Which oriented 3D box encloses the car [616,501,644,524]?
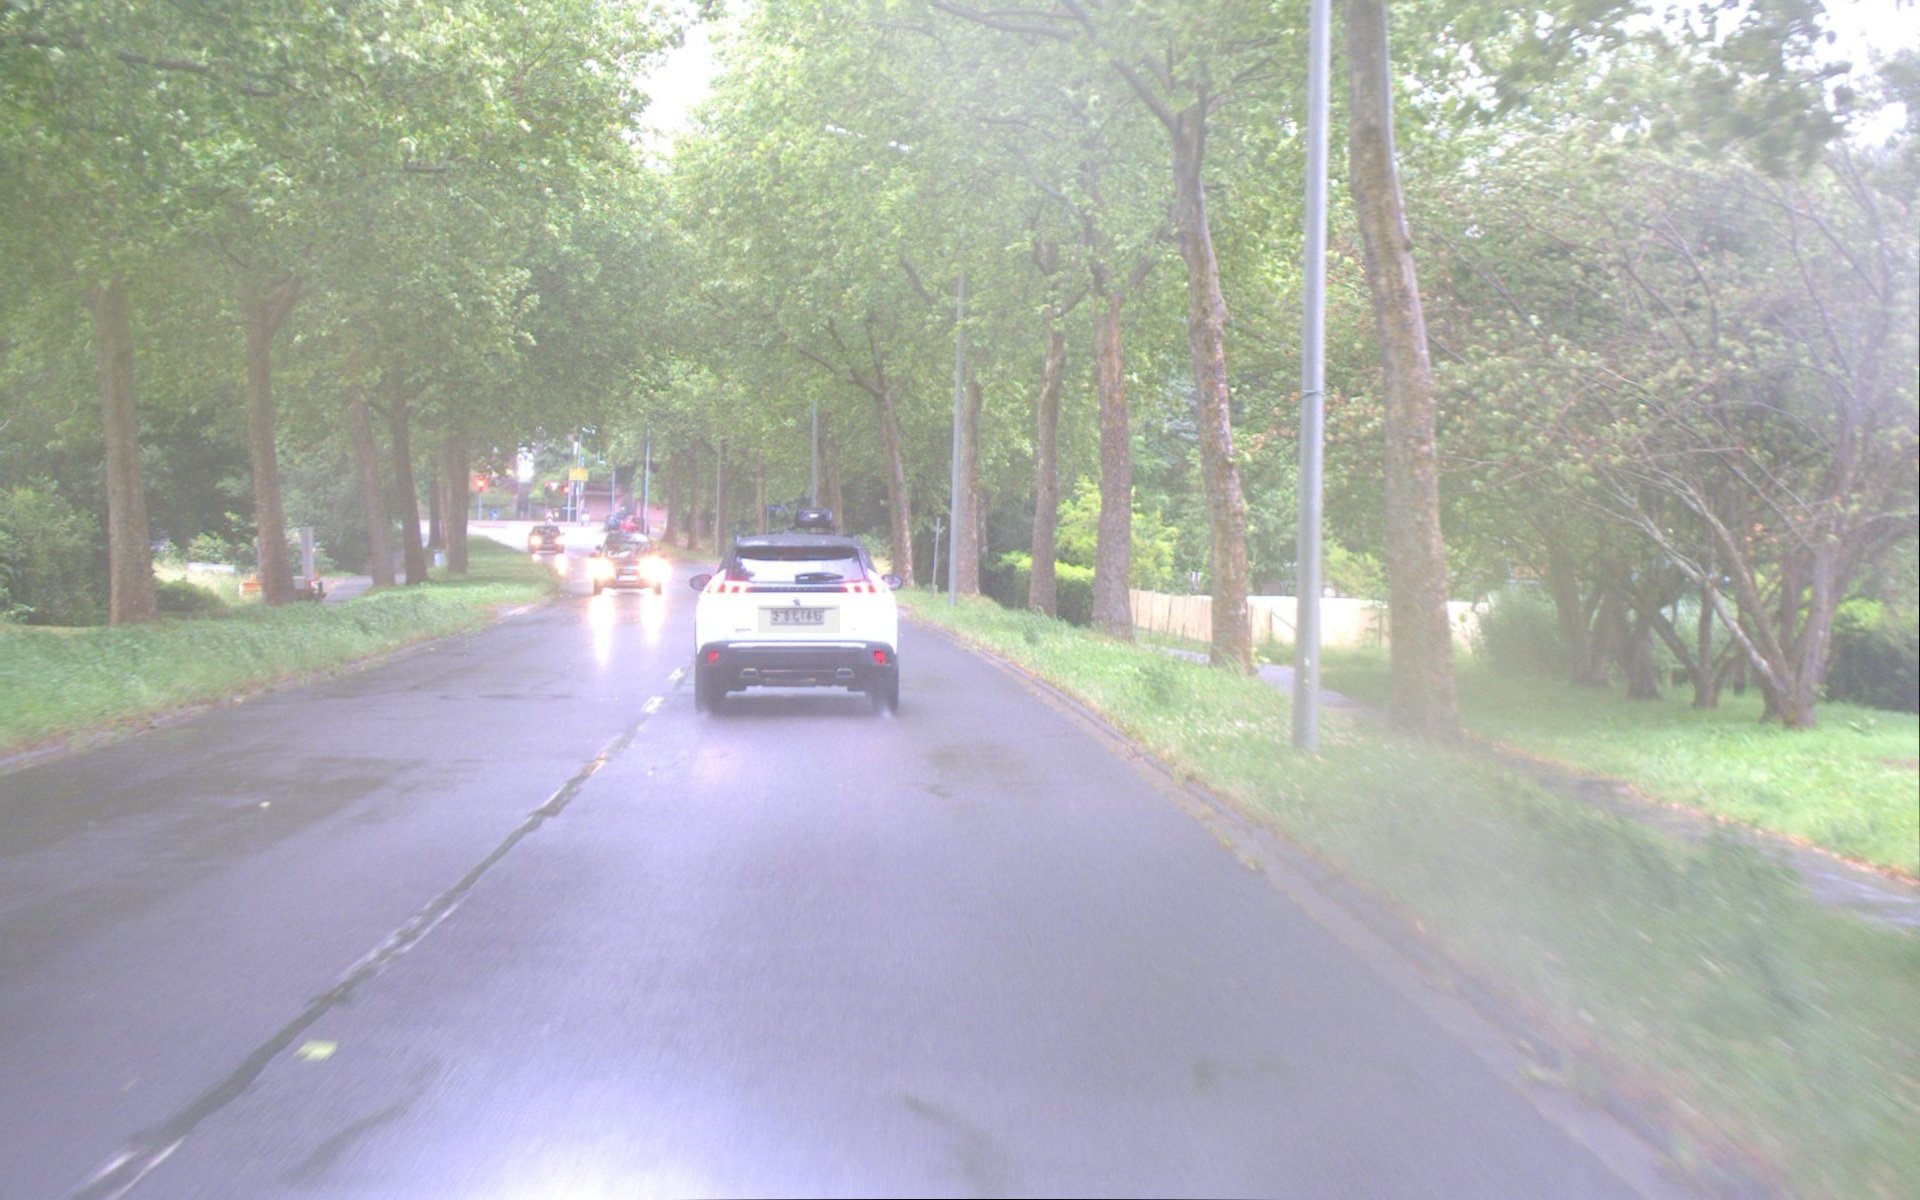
[{"bbox_3d":[-23.202,-6.128,241.633,1.827,1.590,3.654,1,1,-4],"label":"car"}]

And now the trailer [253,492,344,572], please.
[{"bbox_3d":[-21.929,-2.263,114.169,2.484,2.558,5.334,1,1,-6],"label":"trailer"}]

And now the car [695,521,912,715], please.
[{"bbox_3d":[-1.439,0.111,30.875,1.793,1.573,3.845,1,2,-4],"label":"car"}]

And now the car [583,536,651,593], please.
[{"bbox_3d":[-8.989,-0.951,90.356,1.731,1.418,4.226,0,1,-5],"label":"car"}]

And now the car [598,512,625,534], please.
[{"bbox_3d":[-25.440,-5.627,251.006,1.827,1.590,3.654,1,1,-4],"label":"car"}]
